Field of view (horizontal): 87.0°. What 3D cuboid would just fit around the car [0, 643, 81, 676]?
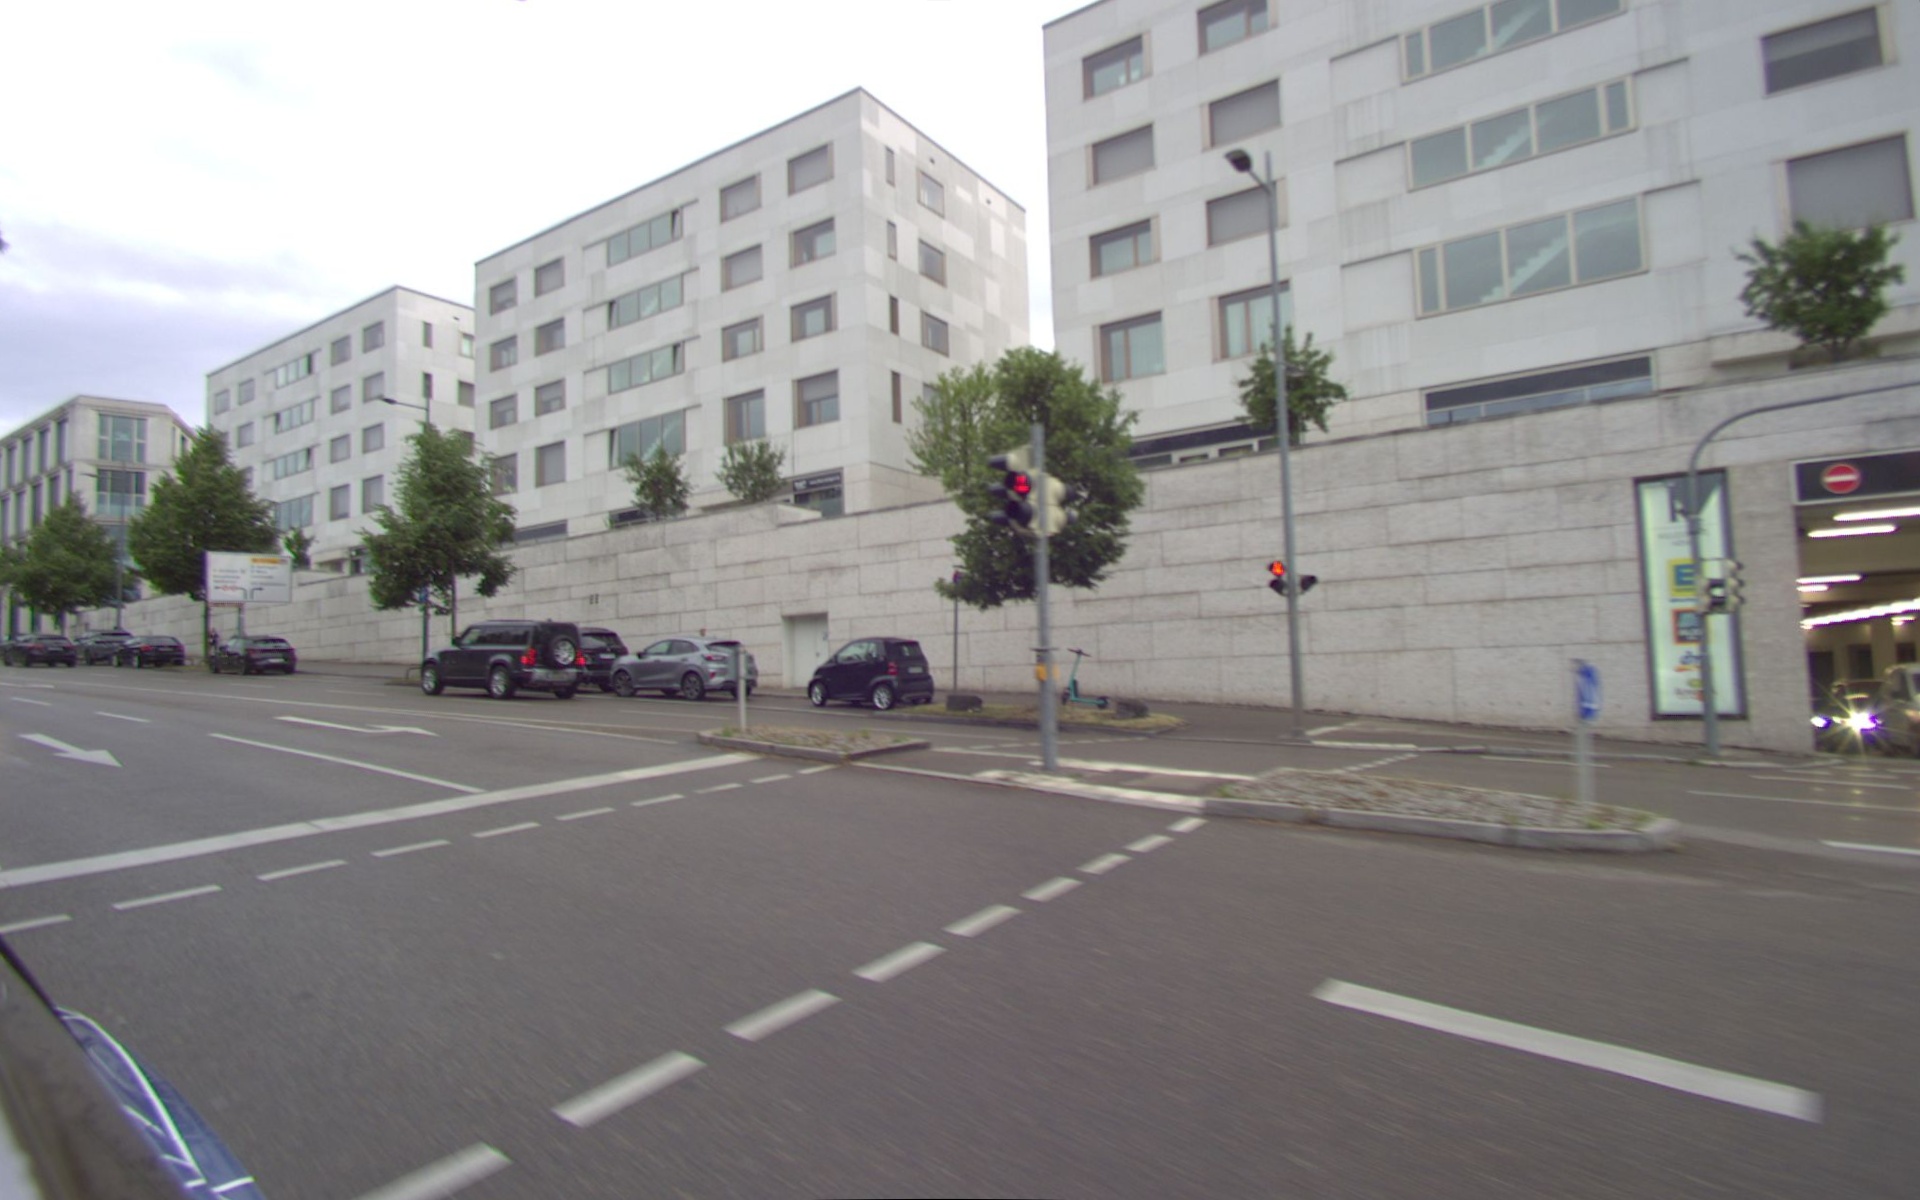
[{"bbox_3d":[-40.787,2.603,44.842,4.179,1.391,1.755,-1,-3,34],"label":"car"}]

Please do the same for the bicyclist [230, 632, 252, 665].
[{"bbox_3d":[-34.220,2.290,48.187,0.767,1.529,0.572,0,-2,34],"label":"bicyclist"}]

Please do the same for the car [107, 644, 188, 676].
[{"bbox_3d":[-36.127,2.651,44.964,4.153,1.370,1.680,-2,-3,35],"label":"car"}]

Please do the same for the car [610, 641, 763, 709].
[{"bbox_3d":[-6.812,1.793,25.112,3.700,1.526,1.665,-1,-2,34],"label":"car"}]

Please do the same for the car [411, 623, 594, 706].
[{"bbox_3d":[-11.329,1.595,24.995,4.492,1.872,1.905,-2,-6,33],"label":"car"}]

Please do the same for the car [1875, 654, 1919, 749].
[{"bbox_3d":[18.444,1.847,18.389,1.922,1.685,4.466,-1,-3,32],"label":"car"}]

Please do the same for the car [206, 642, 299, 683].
[{"bbox_3d":[-26.958,2.344,38.542,3.955,1.437,1.665,-1,-2,35],"label":"car"}]

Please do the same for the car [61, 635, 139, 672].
[{"bbox_3d":[-40.851,2.510,48.053,4.351,1.633,1.689,-1,-2,34],"label":"car"}]

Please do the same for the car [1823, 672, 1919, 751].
[{"bbox_3d":[22.352,2.707,24.204,1.928,1.718,3.957,-1,-7,31],"label":"car"}]

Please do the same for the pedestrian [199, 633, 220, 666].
[{"bbox_3d":[-41.498,2.741,55.935,0.689,1.788,0.712,-3,-3,33],"label":"pedestrian"}]

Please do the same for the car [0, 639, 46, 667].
[{"bbox_3d":[-52.304,2.936,56.084,3.851,1.455,1.680,-2,-2,35],"label":"car"}]

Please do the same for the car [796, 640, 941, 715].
[{"bbox_3d":[-2.054,1.682,22.555,2.973,1.526,1.495,-1,-2,35],"label":"car"}]

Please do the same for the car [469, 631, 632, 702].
[{"bbox_3d":[-11.280,1.757,27.806,4.582,1.794,1.842,-1,-2,33],"label":"car"}]

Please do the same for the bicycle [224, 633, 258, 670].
[{"bbox_3d":[-34.327,2.436,48.300,1.875,1.669,0.736,0,0,34],"label":"bicycle"}]
